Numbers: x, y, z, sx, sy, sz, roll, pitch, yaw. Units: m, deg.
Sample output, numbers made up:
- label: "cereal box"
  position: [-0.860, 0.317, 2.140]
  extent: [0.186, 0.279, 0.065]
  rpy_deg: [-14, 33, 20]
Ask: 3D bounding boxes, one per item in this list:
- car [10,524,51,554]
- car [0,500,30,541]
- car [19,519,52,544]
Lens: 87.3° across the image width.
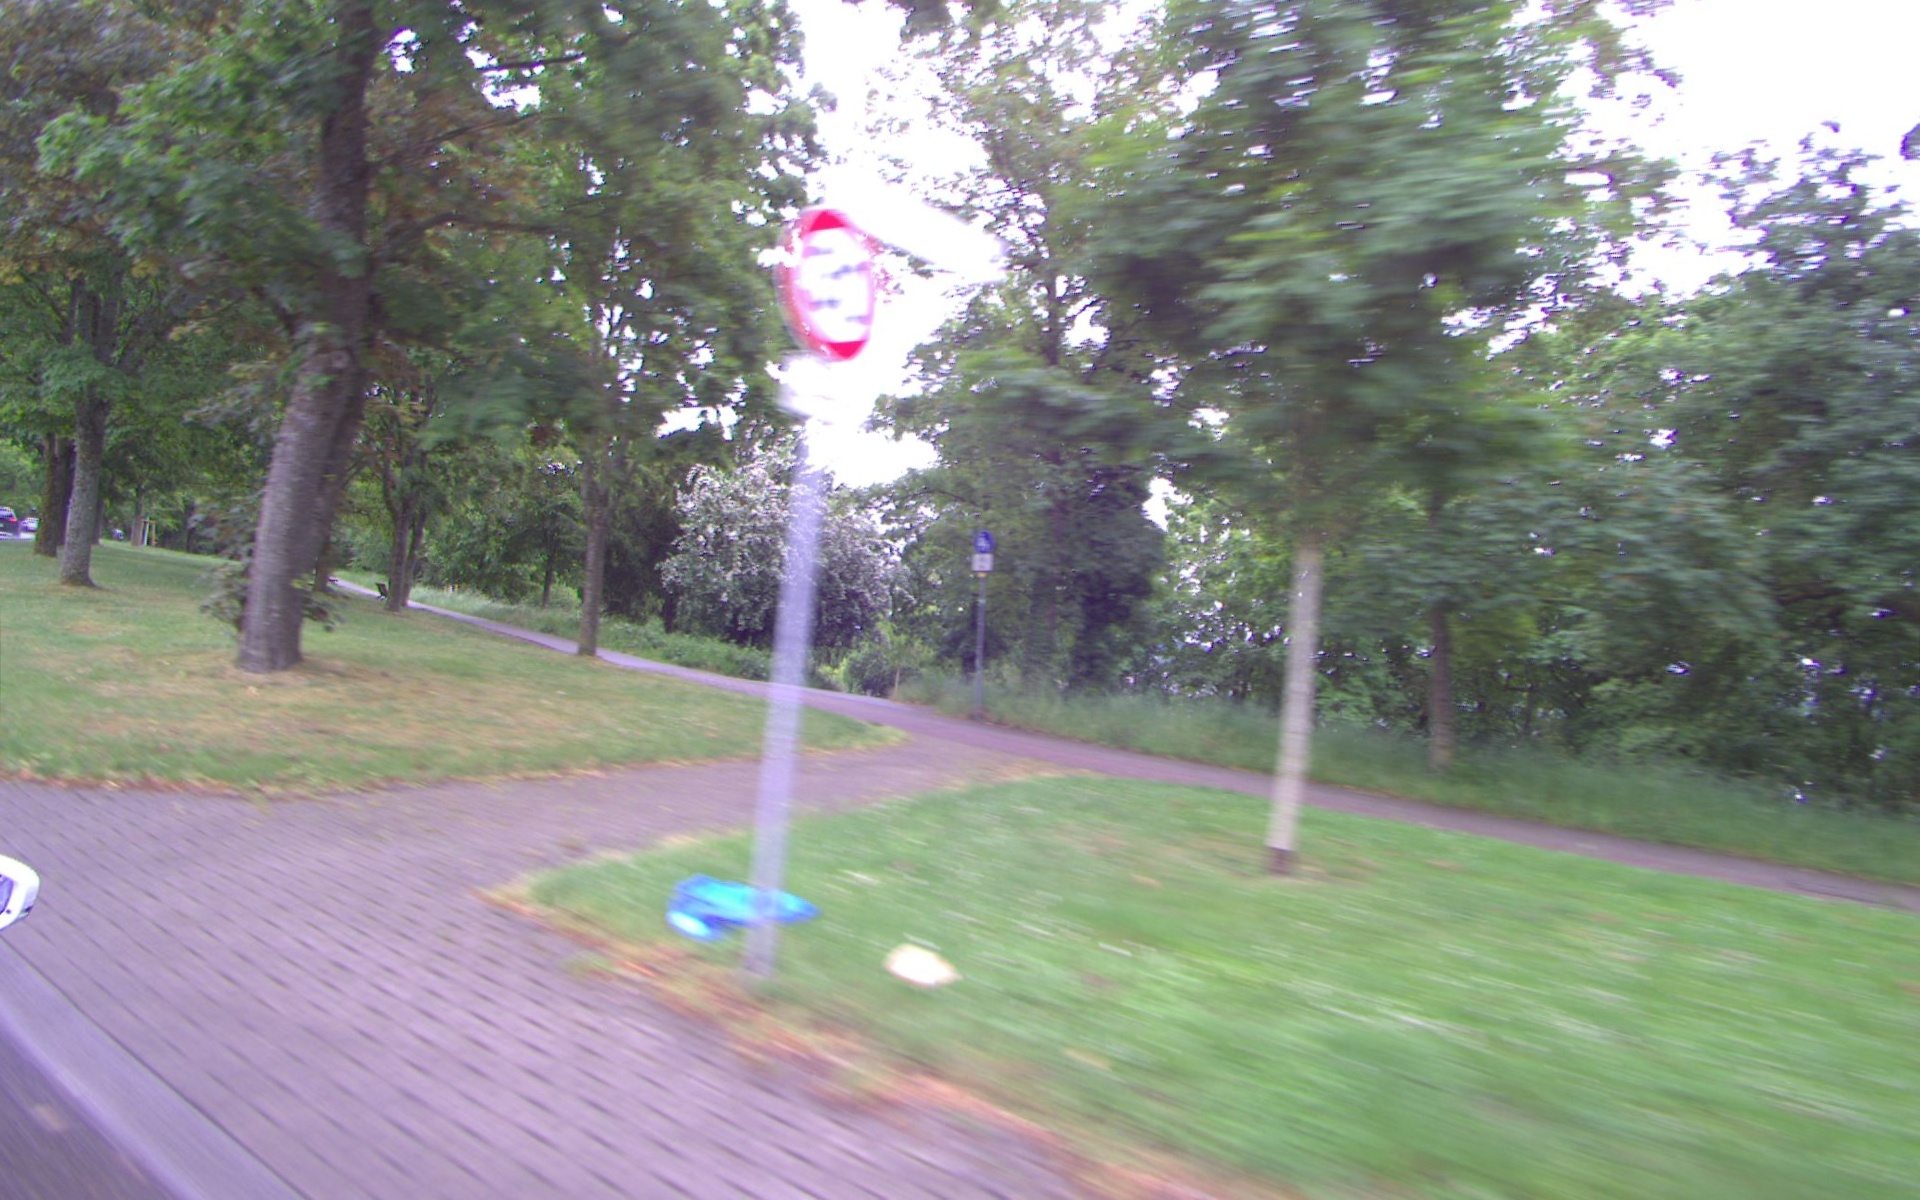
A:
- label: "car"
  position: [-68.305, -4.436, 73.889]
  extent: [1.990, 1.777, 3.953]
  rpy_deg: [11, -5, -43]
- label: "car"
  position: [-53.871, -4.513, 56.669]
  extent: [1.897, 2.035, 3.898]
  rpy_deg: [11, -5, -43]
- label: "car"
  position: [-85.741, -6.315, 93.300]
  extent: [1.990, 1.823, 3.953]
  rpy_deg: [11, -5, -43]
